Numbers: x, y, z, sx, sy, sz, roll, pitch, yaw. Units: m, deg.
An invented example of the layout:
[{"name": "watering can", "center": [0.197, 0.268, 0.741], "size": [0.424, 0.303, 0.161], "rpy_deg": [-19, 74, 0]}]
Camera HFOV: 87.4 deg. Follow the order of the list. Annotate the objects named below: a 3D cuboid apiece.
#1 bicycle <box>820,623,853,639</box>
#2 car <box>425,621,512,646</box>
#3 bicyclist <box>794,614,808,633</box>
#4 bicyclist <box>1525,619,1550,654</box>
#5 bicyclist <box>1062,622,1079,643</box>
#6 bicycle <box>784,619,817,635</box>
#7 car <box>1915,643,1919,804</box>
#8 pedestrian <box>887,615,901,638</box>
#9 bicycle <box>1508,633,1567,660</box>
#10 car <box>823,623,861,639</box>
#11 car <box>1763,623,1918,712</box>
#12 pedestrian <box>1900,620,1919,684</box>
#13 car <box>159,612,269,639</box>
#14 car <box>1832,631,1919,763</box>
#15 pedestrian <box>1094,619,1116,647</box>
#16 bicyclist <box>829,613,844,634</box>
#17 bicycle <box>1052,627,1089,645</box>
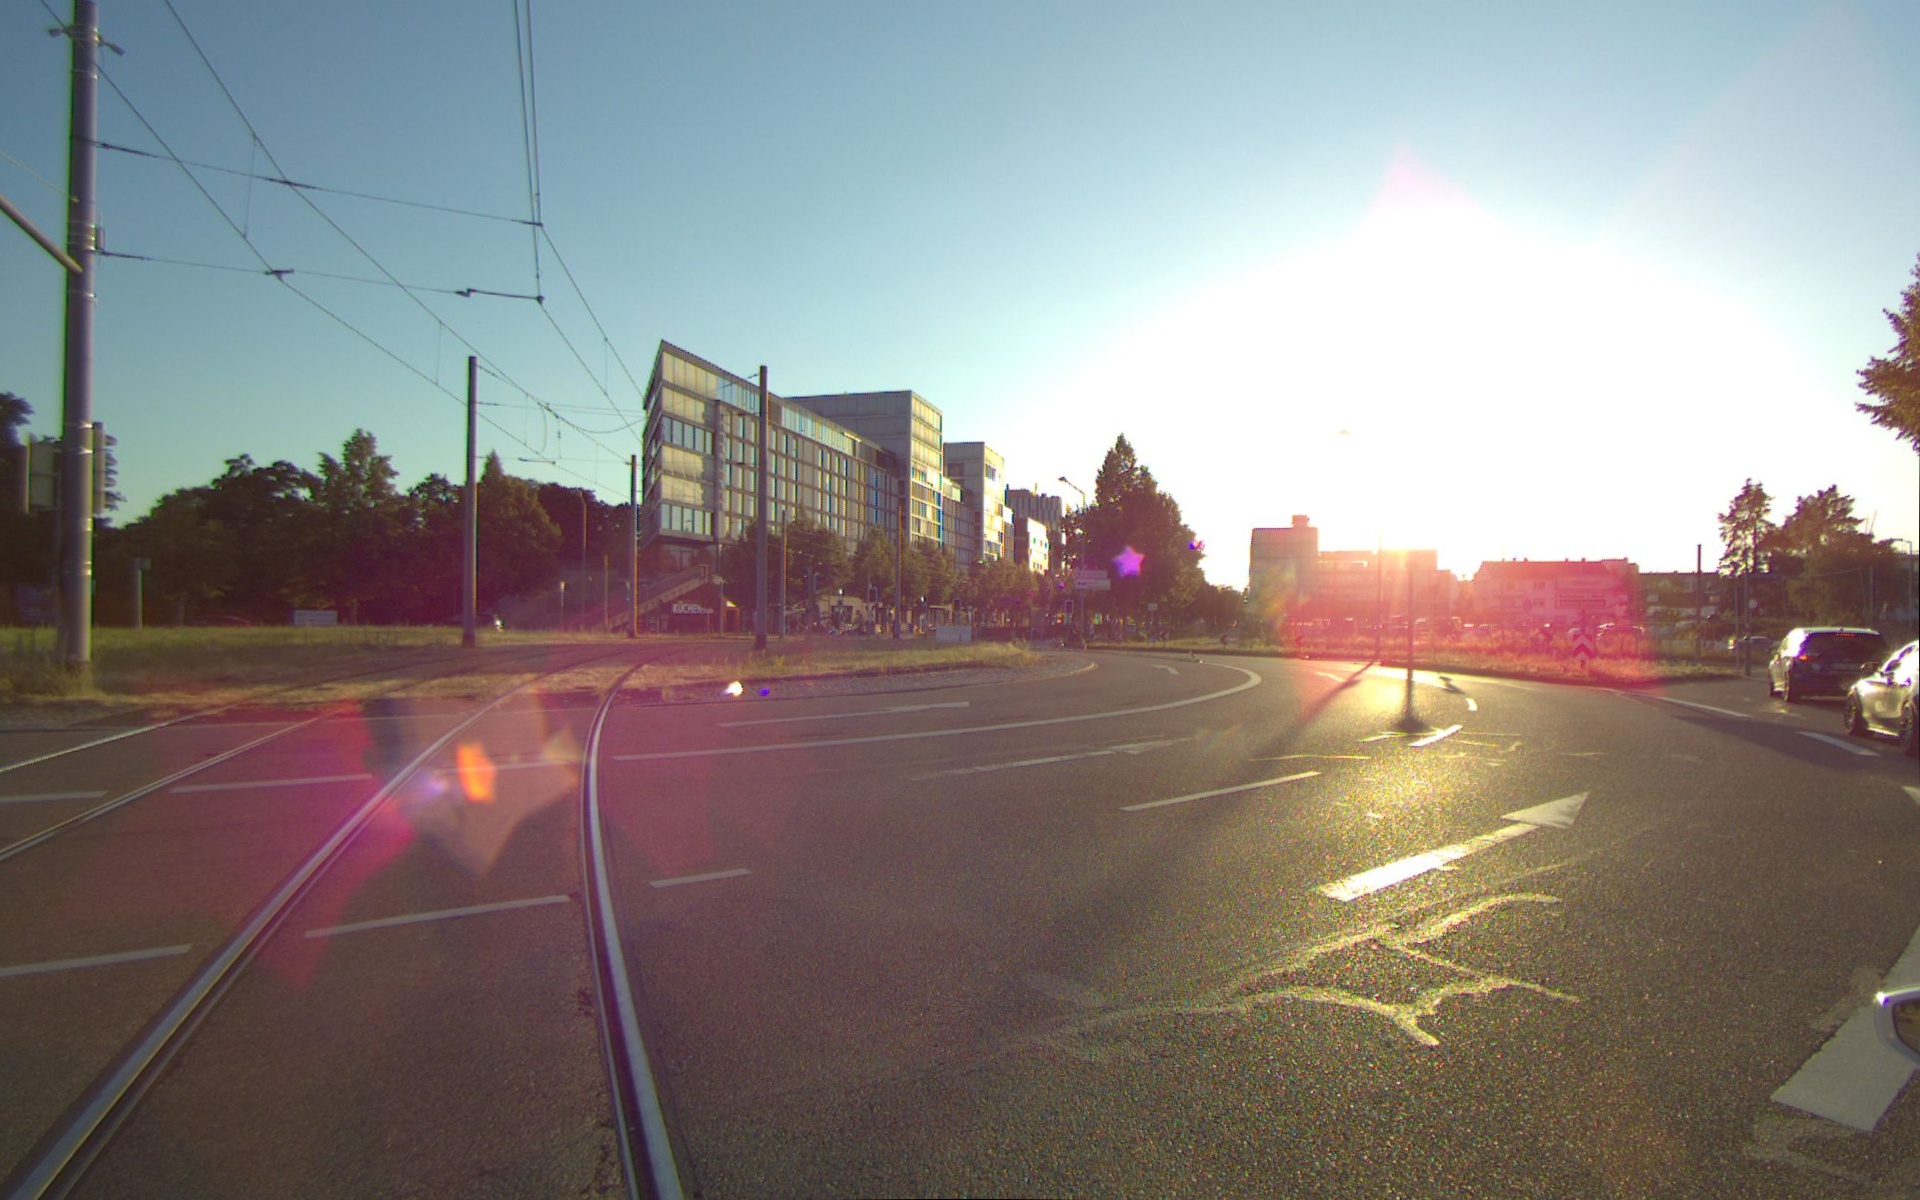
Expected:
[{"name": "bicycle", "center": [-9.380, 2.319, 76.104], "size": [2.361, 1.182, 0.755], "rpy_deg": [1, -1, 4]}, {"name": "car", "center": [-29.046, 1.959, 59.506], "size": [4.243, 1.451, 1.941], "rpy_deg": [0, -1, -10]}, {"name": "bicyclist", "center": [-12.126, 1.780, 76.570], "size": [0.861, 1.411, 0.755], "rpy_deg": [1, -1, 7]}, {"name": "bicyclist", "center": [27.074, 1.702, 47.117], "size": [0.960, 1.634, 0.753], "rpy_deg": [0, -1, 28]}, {"name": "bicyclist", "center": [7.549, 2.186, 68.564], "size": [0.962, 1.412, 0.752], "rpy_deg": [0, -1, 33]}, {"name": "bicycle", "center": [-12.166, 2.087, 76.563], "size": [2.360, 1.182, 0.755], "rpy_deg": [1, -1, 7]}, {"name": "car", "center": [7.753, 1.011, 6.570], "size": [1.929, 1.360, 4.647], "rpy_deg": [1, -1, 41]}, {"name": "pedestrian", "center": [-5.112, 2.060, 77.647], "size": [0.870, 1.730, 0.795], "rpy_deg": [1, -1, 10]}, {"name": "bicycle", "center": [27.068, 2.172, 47.135], "size": [2.365, 1.182, 0.753], "rpy_deg": [0, -1, 28]}, {"name": "car", "center": [-12.073, 3.201, 103.386], "size": [1.960, 1.565, 5.204], "rpy_deg": [1, -1, 16]}, {"name": "car", "center": [18.816, 1.373, 21.653], "size": [1.924, 1.623, 4.066], "rpy_deg": [3, 0, 34]}, {"name": "pedestrian", "center": [26.090, 1.409, 26.984], "size": [0.830, 1.708, 0.887], "rpy_deg": [1, -1, -4]}, {"name": "car", "center": [-41.462, 1.433, 55.940], "size": [4.525, 1.451, 1.936], "rpy_deg": [1, -1, -21]}, {"name": "car", "center": [12.501, 1.168, 12.404], "size": [1.924, 1.446, 4.419], "rpy_deg": [2, -1, 32]}, {"name": "pedestrian", "center": [9.715, 2.203, 67.185], "size": [1.143, 1.851, 0.975], "rpy_deg": [0, -1, 38]}, {"name": "bicyclist", "center": [-9.384, 1.777, 76.188], "size": [0.959, 1.545, 0.755], "rpy_deg": [1, -1, 3]}, {"name": "bicycle", "center": [7.544, 2.467, 68.584], "size": [2.368, 1.182, 0.752], "rpy_deg": [0, -1, 34]}]
